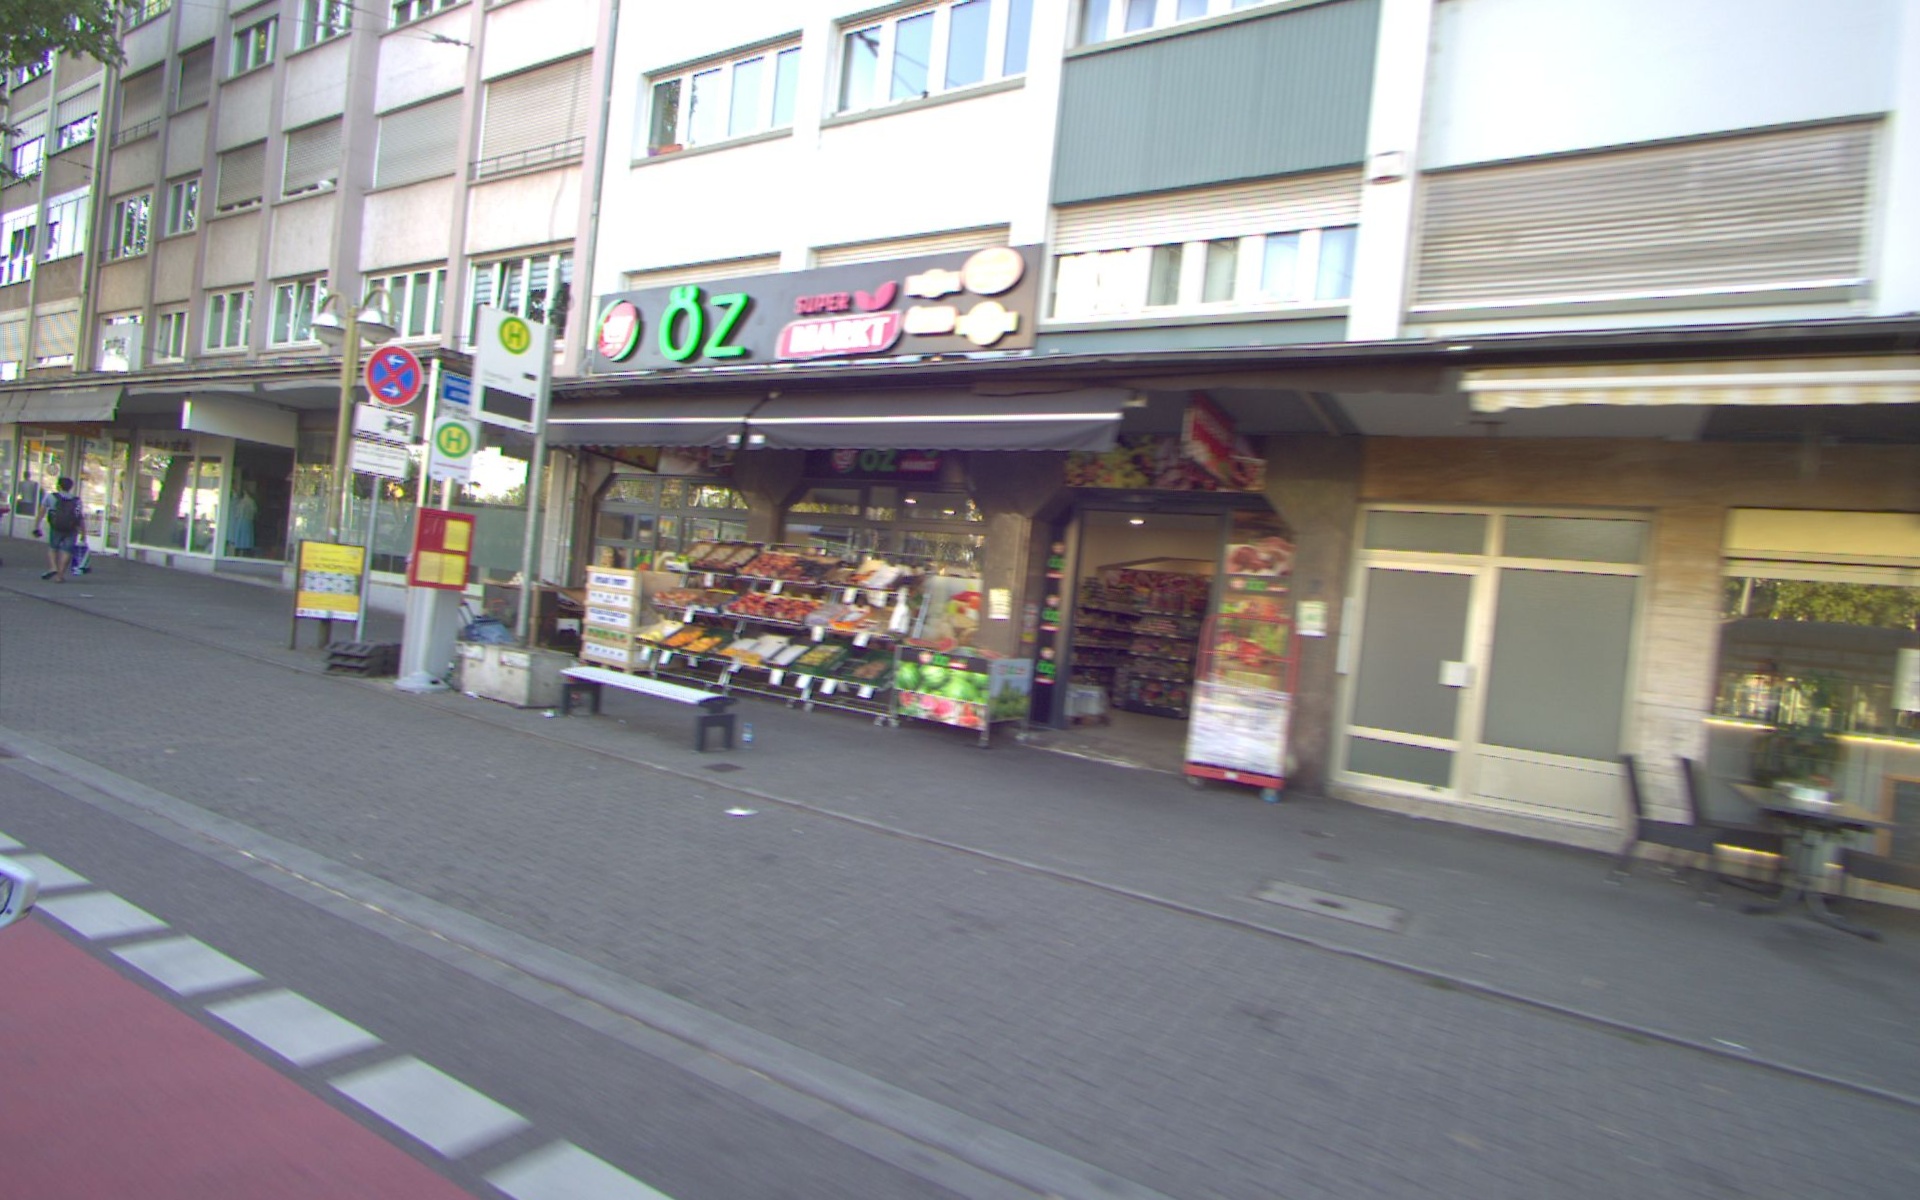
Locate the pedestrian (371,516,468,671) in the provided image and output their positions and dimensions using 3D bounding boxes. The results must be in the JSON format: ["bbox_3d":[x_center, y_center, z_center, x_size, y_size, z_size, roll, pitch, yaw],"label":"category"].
[{"bbox_3d":[-6.225,-0.062,11.598,0.546,1.694,0.646,7,0,32],"label":"pedestrian"}]

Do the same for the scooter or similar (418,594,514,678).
[{"bbox_3d":[-5.624,0.412,11.468,0.720,0.854,0.577,6,0,24],"label":"scooter or similar"}]

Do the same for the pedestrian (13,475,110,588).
[{"bbox_3d":[-14.479,-1.096,16.214,0.973,1.695,0.844,7,2,31],"label":"pedestrian"}]

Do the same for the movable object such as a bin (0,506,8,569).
[{"bbox_3d":[-17.460,-1.178,17.700,1.207,1.089,0.674,8,2,31],"label":"movable object such as a bin"}]
